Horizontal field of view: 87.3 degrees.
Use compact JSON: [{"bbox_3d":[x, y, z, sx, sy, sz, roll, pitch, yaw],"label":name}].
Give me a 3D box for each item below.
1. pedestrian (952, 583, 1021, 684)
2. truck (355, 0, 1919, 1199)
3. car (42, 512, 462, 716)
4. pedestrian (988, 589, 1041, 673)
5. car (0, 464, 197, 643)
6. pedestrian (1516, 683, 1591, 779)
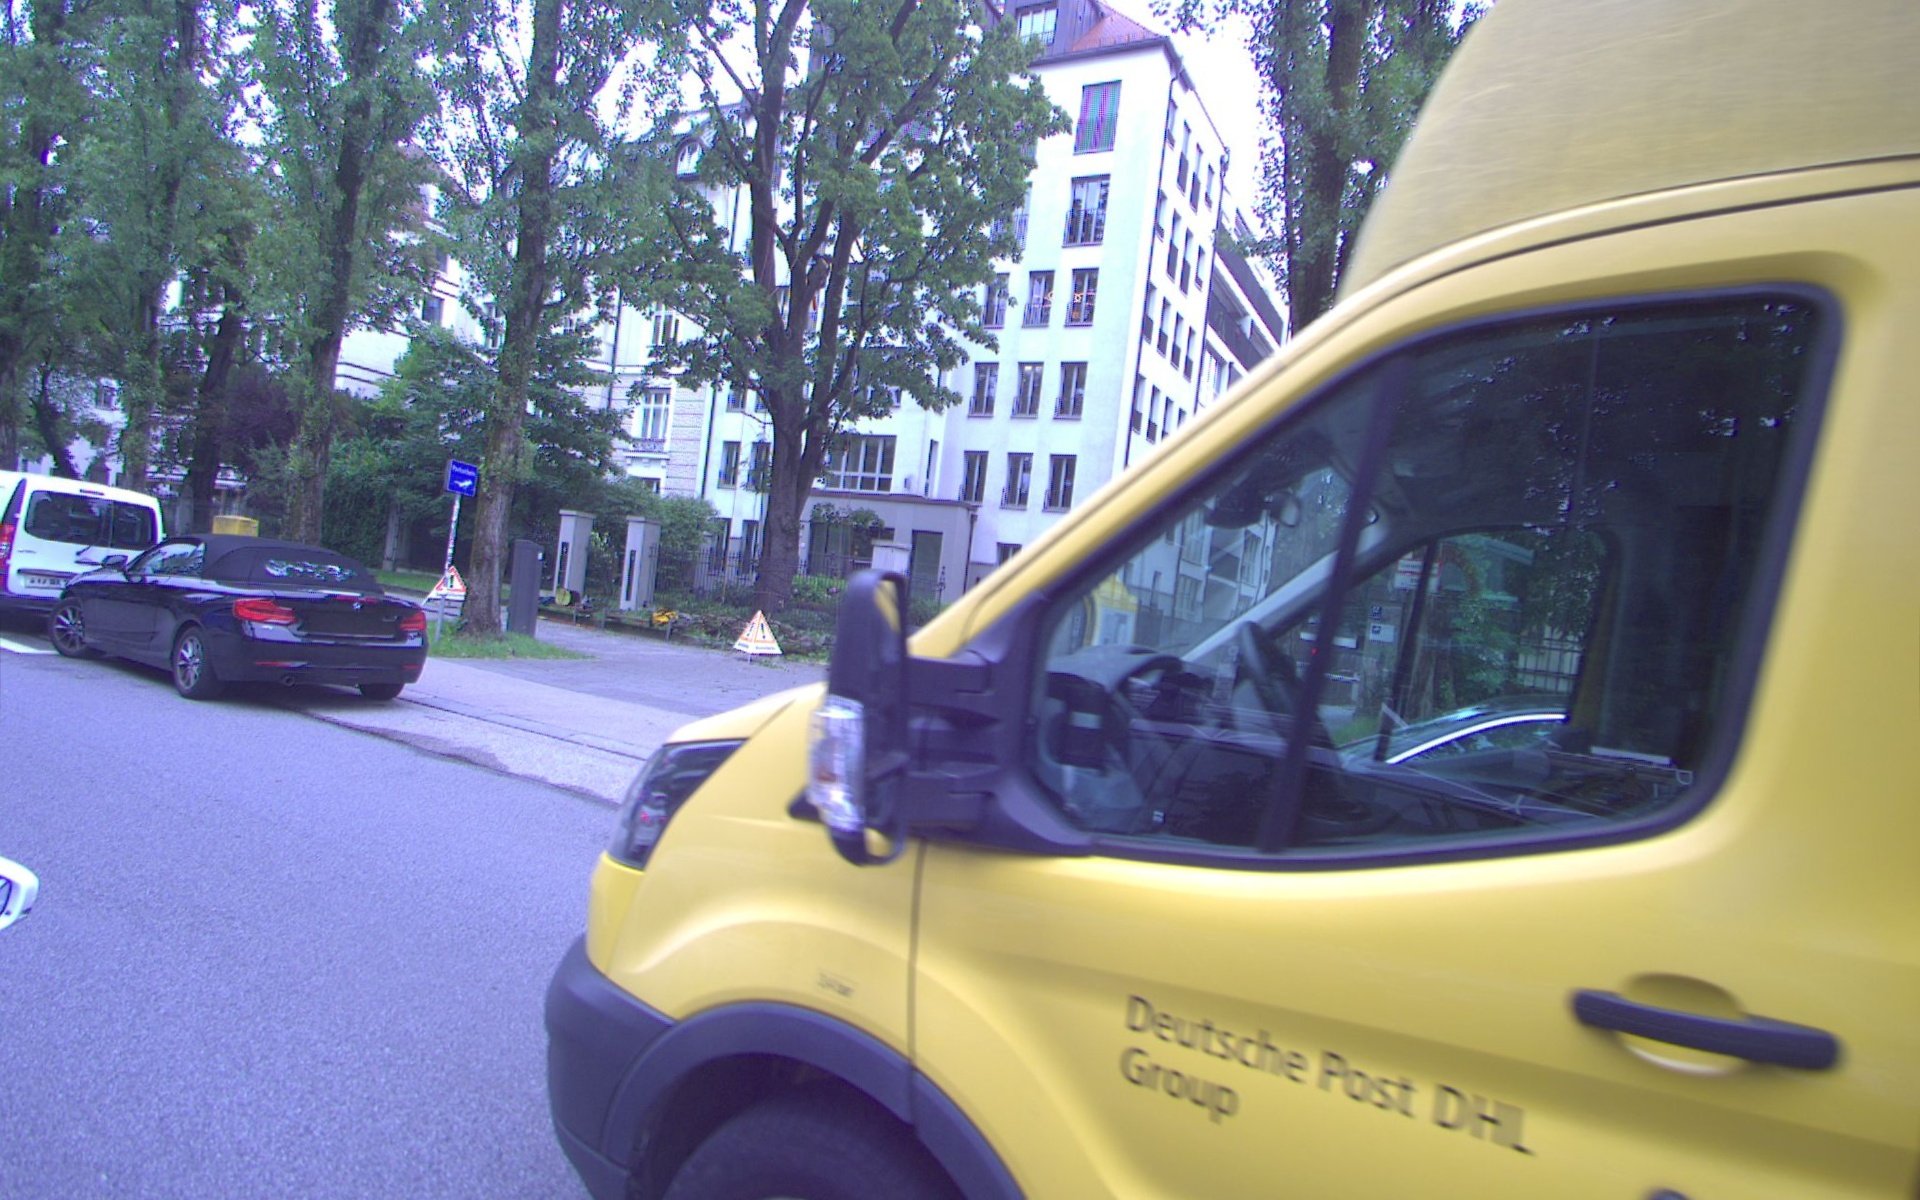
[{"bbox_3d":[0.529,0.673,20.183,0.930,1.890,0.766,6,1,-33],"label":"pedestrian"},{"bbox_3d":[2.675,0.388,1.232,7.205,2.934,2.332,7,0,28],"label":"truck"},{"bbox_3d":[-6.881,0.092,9.705,3.932,1.370,1.749,7,0,30],"label":"car"},{"bbox_3d":[1.295,0.733,23.678,0.820,1.877,0.773,7,1,23],"label":"pedestrian"},{"bbox_3d":[-11.665,-0.683,12.416,4.156,1.794,1.838,7,-2,28],"label":"car"},{"bbox_3d":[8.027,1.747,13.609,0.715,1.156,0.701,7,1,34],"label":"pedestrian"}]
